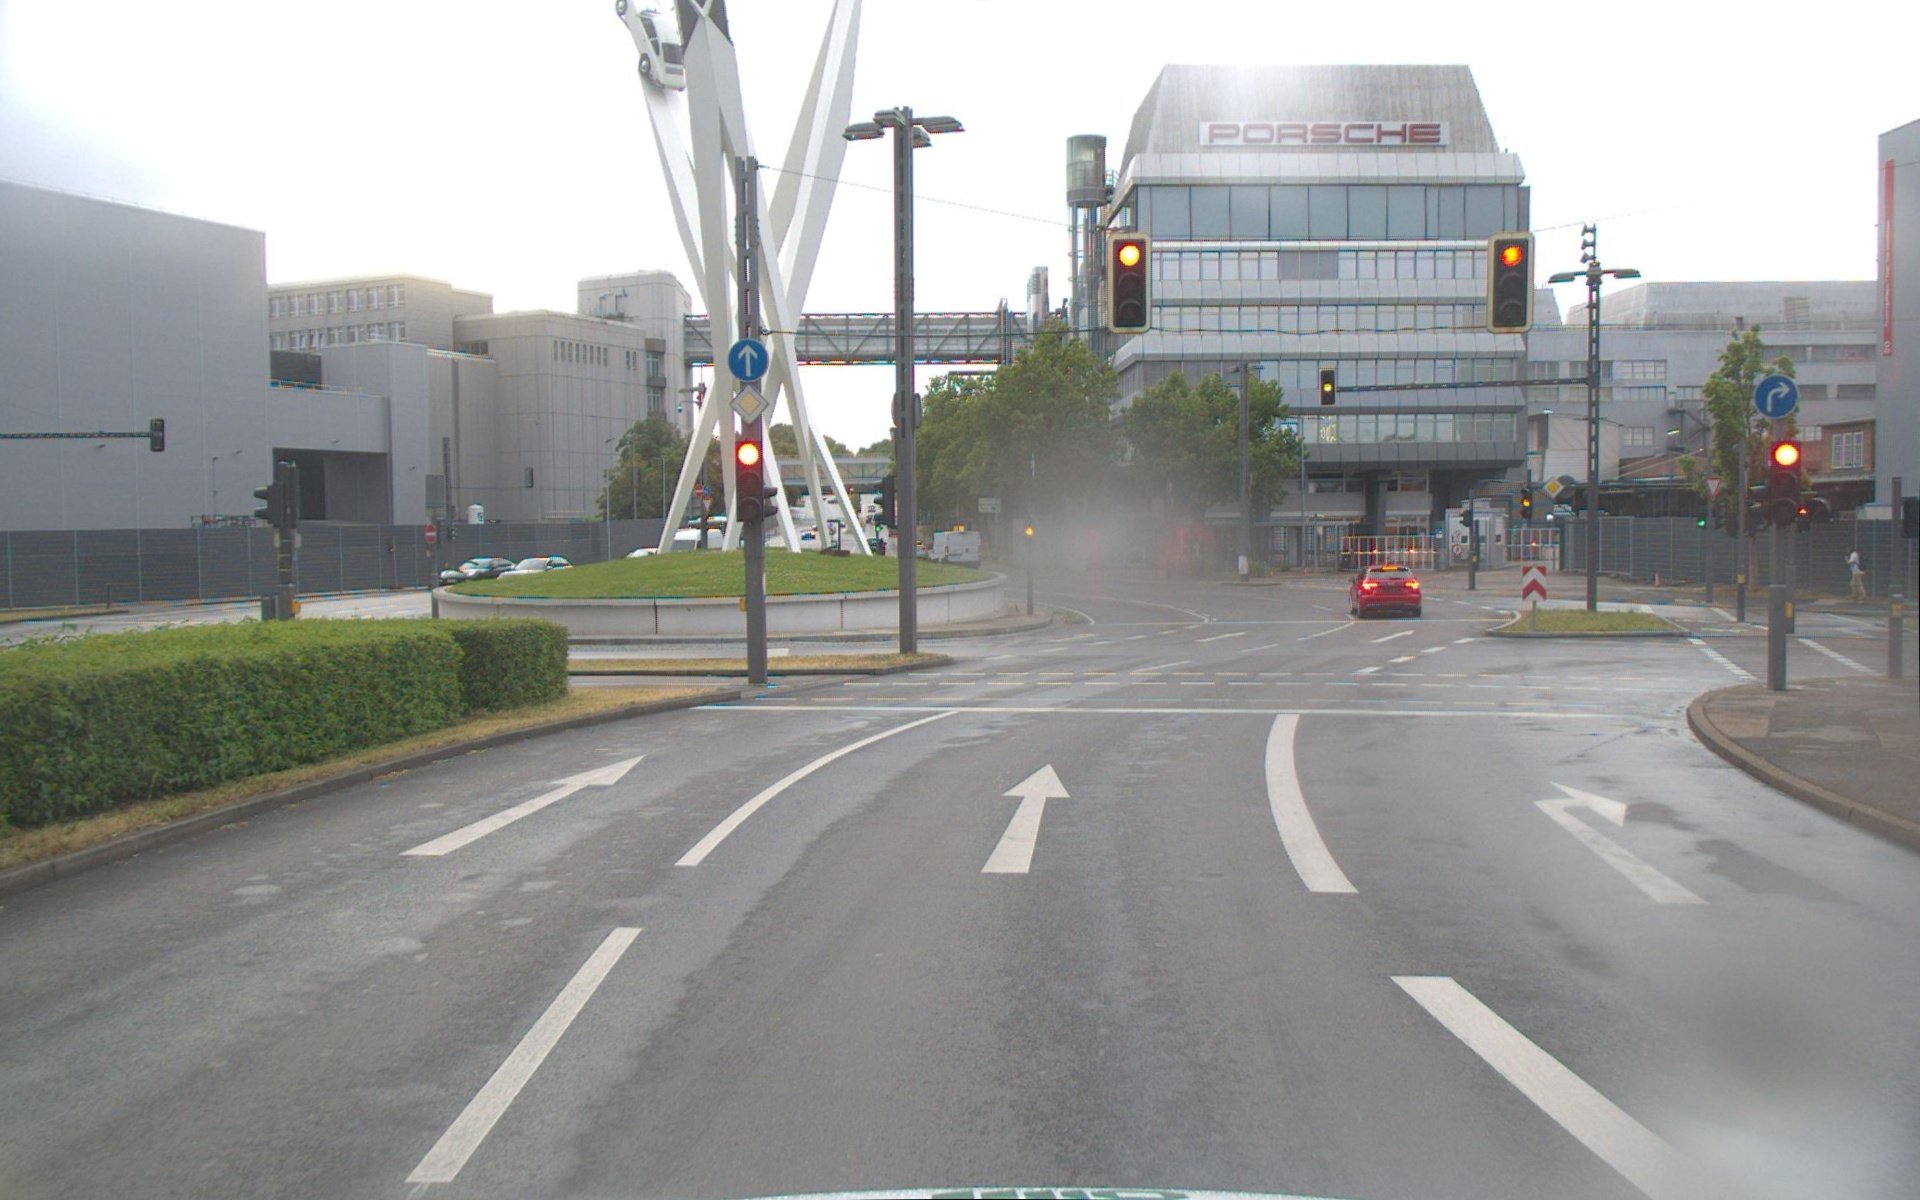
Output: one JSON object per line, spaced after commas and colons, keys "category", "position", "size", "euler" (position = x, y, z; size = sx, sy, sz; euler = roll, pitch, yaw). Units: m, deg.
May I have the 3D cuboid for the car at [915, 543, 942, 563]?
{"category": "car", "position": [-2.286, -3.368, 118.156], "size": [1.635, 1.323, 3.881], "euler": [0, 0, -6]}

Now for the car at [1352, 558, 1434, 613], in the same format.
{"category": "car", "position": [12.304, -0.403, 46.838], "size": [1.736, 1.490, 3.732], "euler": [0, 0, 23]}

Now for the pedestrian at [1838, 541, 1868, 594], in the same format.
{"category": "pedestrian", "position": [27.837, -1.008, 51.558], "size": [0.792, 1.639, 0.768], "euler": [-1, 0, 27]}

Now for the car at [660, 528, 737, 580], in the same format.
{"category": "car", "position": [-13.094, -2.315, 83.082], "size": [1.951, 2.489, 5.432], "euler": [-1, 1, 12]}

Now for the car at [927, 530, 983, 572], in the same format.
{"category": "car", "position": [-0.314, -2.663, 90.977], "size": [2.193, 2.144, 4.940], "euler": [0, 0, -12]}

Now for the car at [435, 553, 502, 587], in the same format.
{"category": "car", "position": [-22.917, -1.399, 77.308], "size": [1.796, 1.498, 4.514], "euler": [0, 1, 0]}

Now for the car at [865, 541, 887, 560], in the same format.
{"category": "car", "position": [-6.208, -3.631, 122.392], "size": [1.526, 1.310, 3.412], "euler": [0, 0, -2]}
